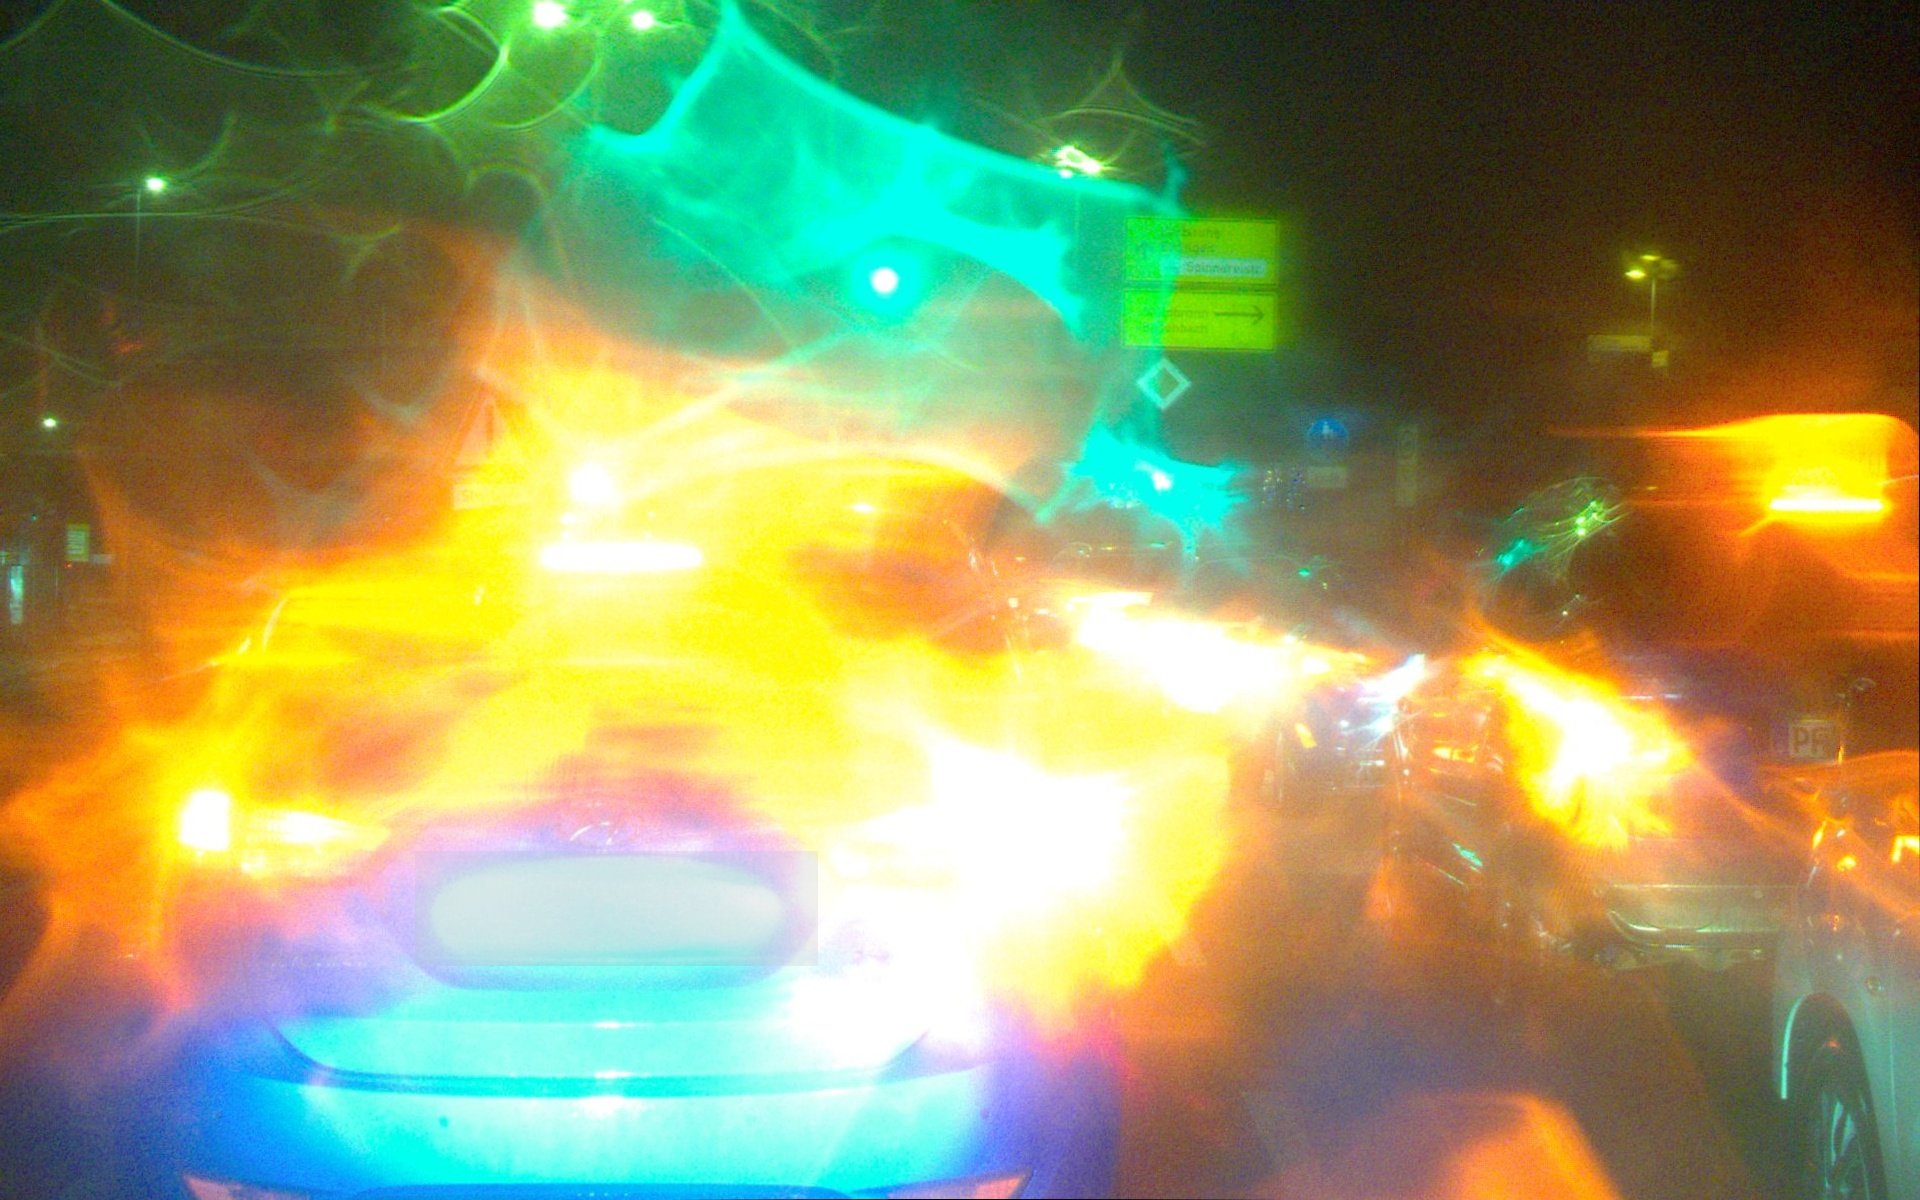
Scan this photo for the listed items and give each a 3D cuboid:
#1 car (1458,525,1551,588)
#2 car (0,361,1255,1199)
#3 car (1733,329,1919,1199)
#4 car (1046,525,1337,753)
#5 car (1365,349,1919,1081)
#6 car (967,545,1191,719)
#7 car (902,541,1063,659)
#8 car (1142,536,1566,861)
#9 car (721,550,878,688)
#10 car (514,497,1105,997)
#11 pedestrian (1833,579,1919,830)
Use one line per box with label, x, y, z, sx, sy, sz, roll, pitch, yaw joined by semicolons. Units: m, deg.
car;14.897;-1.187;94.161;1.865;1.641;3.963;-2;1;0
car;-0.598;0.473;7.673;2.014;1.711;4.452;1;0;-1
car;2.484;0.513;4.604;1.851;1.858;4.341;1;0;-1
car;1.773;0.273;27.570;1.993;1.664;4.000;1;0;-1
car;2.631;0.312;11.651;1.968;2.040;4.000;1;0;-1
car;1.234;0.313;37.473;1.993;1.767;4.001;1;0;-4
car;0.263;-0.018;47.340;1.857;1.539;3.931;1;0;-5
car;2.220;0.510;20.448;1.993;1.712;4.000;1;0;-1
car;-2.292;0.237;48.105;1.993;1.818;4.001;1;0;-5
car;-0.539;0.485;13.747;1.993;1.678;4.000;1;0;-1
pedestrian;6.400;0.709;23.600;0.622;1.696;0.541;1;0;-3
